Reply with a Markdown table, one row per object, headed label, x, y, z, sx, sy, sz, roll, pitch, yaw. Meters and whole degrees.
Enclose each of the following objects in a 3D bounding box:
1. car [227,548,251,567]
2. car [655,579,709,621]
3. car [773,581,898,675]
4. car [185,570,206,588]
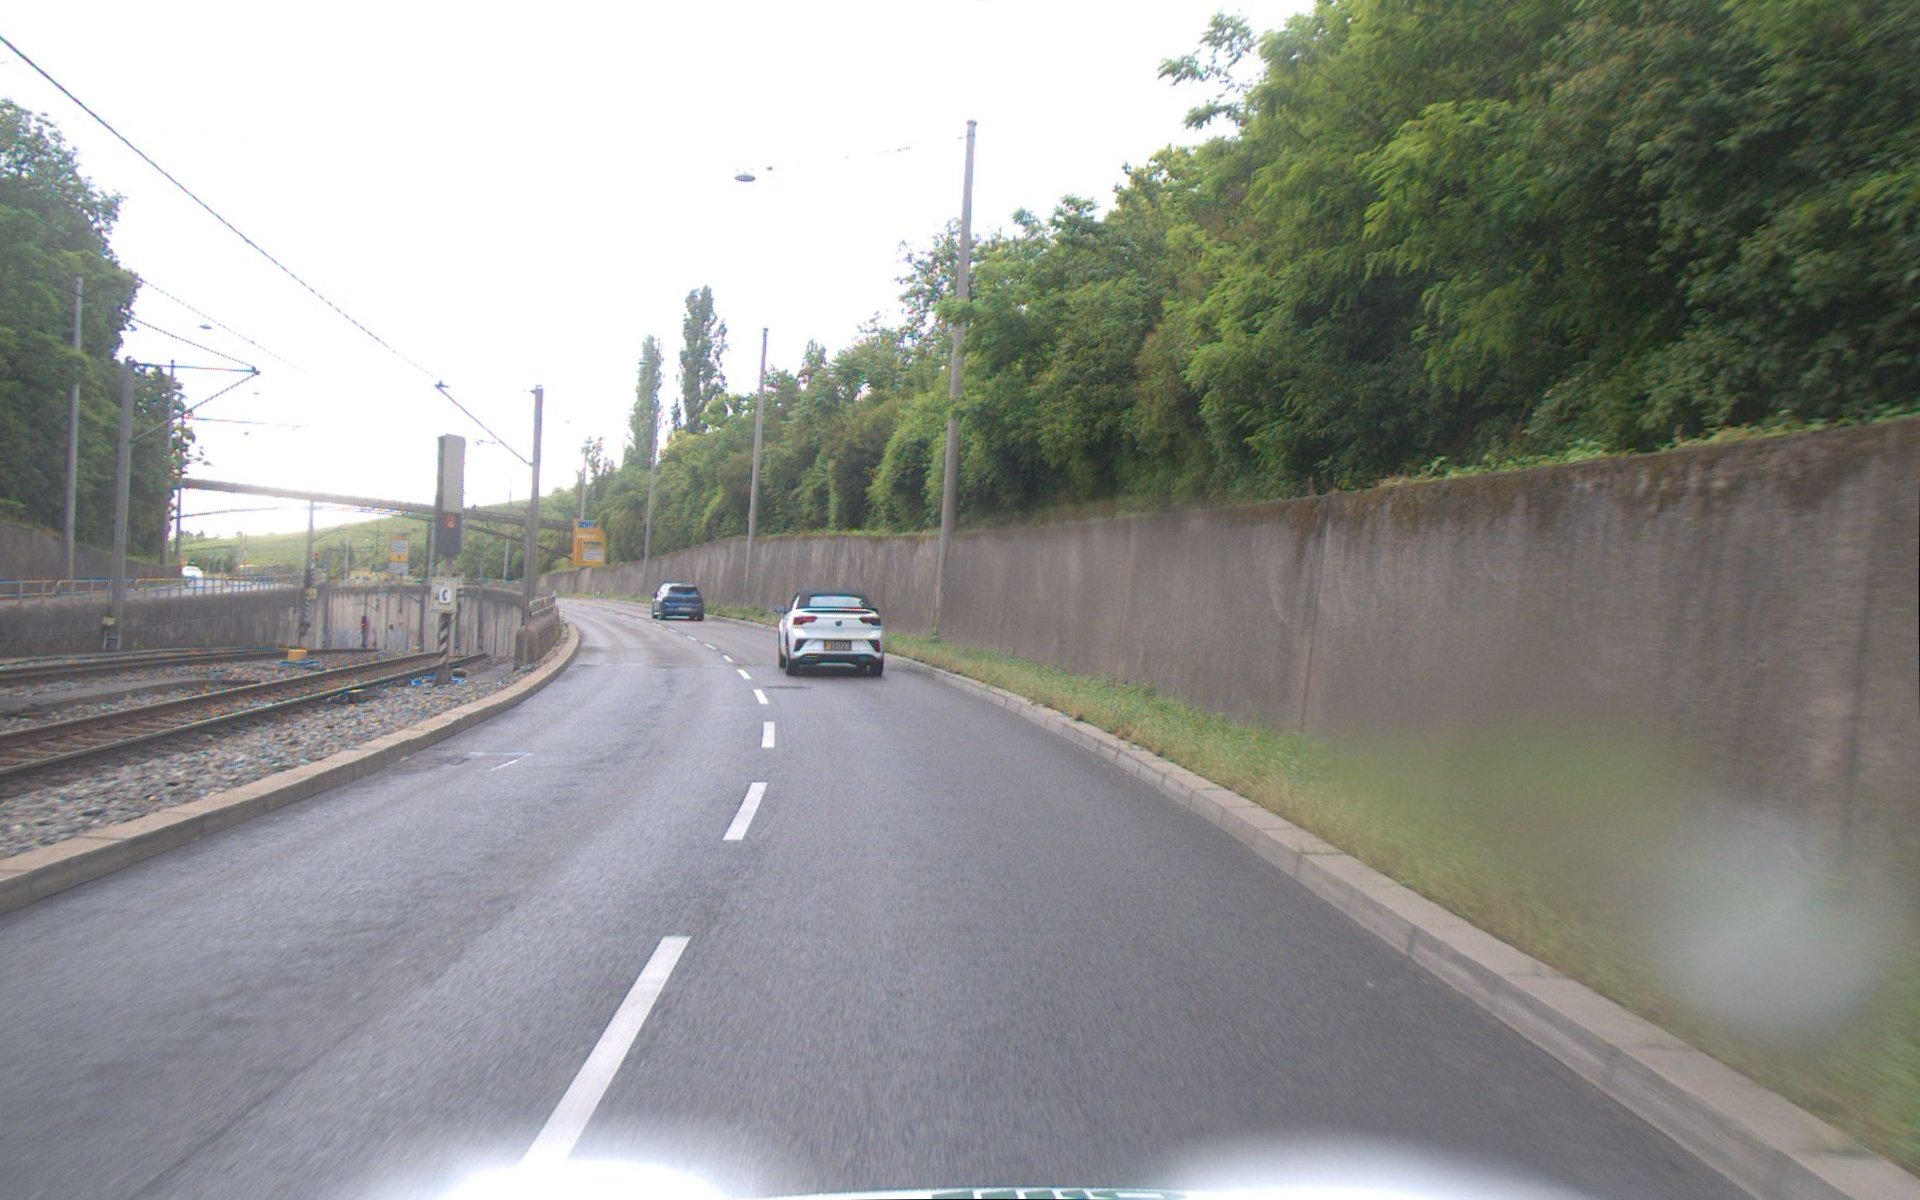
| label | x | y | z | sx | sy | sz | roll | pitch | yaw |
| --- | --- | --- | --- | --- | --- | --- | --- | --- | --- |
| car | -69.798 | -4.084 | 160.173 | 1.937 | 1.780 | 4.106 | 1 | 0 | -26 |
| car | -11.241 | -0.021 | 66.725 | 1.893 | 1.627 | 4.048 | 1 | 1 | -13 |
| car | -2.405 | 0.469 | 30.915 | 1.959 | 1.606 | 4.116 | 1 | 1 | -10 |
| car | -75.912 | -2.036 | 164.251 | 1.794 | 1.734 | 4.078 | 1 | 0 | -25 |
